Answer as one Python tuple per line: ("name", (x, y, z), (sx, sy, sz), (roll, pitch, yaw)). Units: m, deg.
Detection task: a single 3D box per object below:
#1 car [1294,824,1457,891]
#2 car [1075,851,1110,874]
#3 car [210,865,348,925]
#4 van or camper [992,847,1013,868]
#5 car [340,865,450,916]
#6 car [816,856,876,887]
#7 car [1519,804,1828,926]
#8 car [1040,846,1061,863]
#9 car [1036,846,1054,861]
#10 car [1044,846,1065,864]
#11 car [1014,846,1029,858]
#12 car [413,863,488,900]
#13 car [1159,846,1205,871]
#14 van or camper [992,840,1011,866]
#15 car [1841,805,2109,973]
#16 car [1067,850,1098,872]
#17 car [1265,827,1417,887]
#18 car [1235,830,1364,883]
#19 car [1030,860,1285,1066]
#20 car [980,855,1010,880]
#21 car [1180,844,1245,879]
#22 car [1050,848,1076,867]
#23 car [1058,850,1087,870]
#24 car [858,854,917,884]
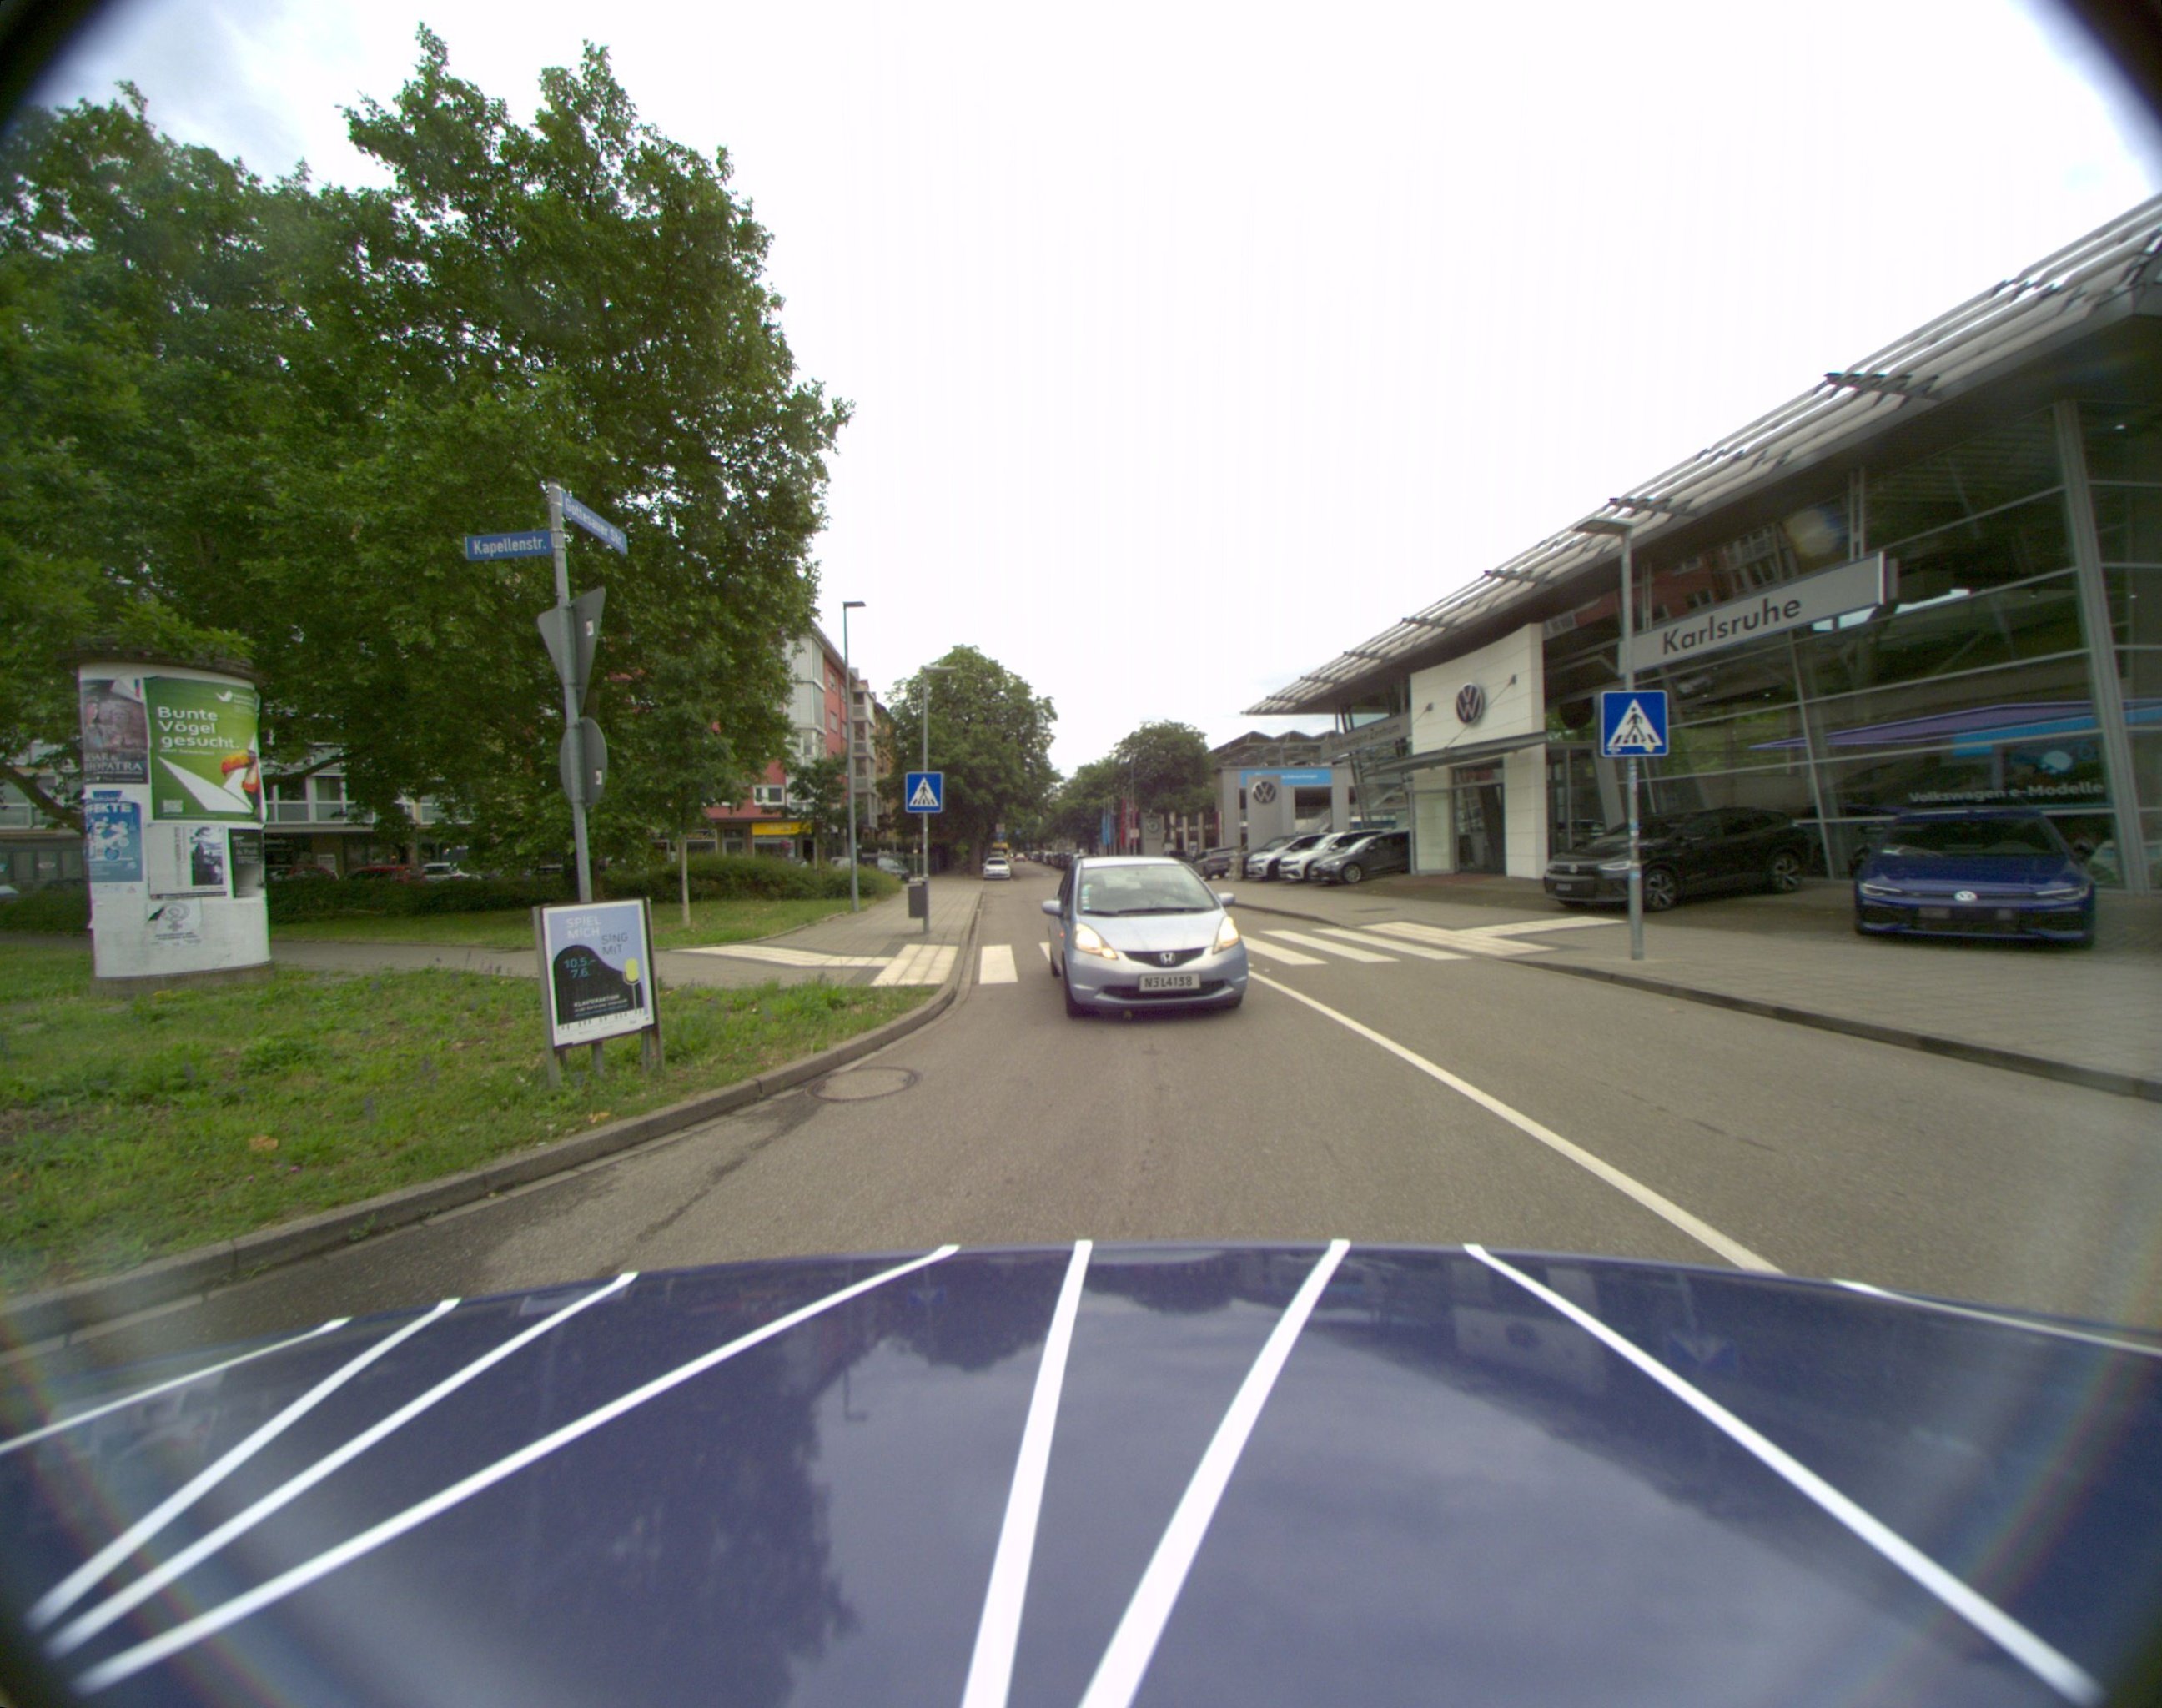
("car", (9.555, 0.099, 24.823), (4.475, 1.687, 1.896), (-5, 1, -7))
("car", (0.817, 0.600, 58.049), (1.861, 1.614, 4.471), (-3, 1, -9))
("car", (-26.383, 1.269, 25.211), (1.864, 1.712, 4.465), (-2, 1, -29))
("van or camper", (-8.073, 0.364, 78.031), (1.999, 2.002, 3.997), (-2, 1, -6))
("car", (-23.898, 1.205, 26.655), (1.864, 1.539, 4.465), (-2, 1, -29))
("car", (-13.426, 0.945, 43.298), (1.864, 1.539, 4.463), (-3, 2, -36))
("car", (10.578, 0.160, 13.680), (4.510, 1.623, 1.859), (-5, 1, -12))
("car", (-3.938, 0.063, 97.035), (2.023, 1.974, 4.778), (-3, 1, -9))
("car", (-5.289, -0.100, 111.858), (2.023, 1.974, 4.778), (-3, 1, -9))
("car", (-3.182, 0.109, 91.339), (1.861, 1.974, 4.471), (-3, 1, -9))
("car", (-10.077, -0.364, 127.916), (2.023, 1.974, 4.778), (-3, 1, -9))
("car", (-29.124, 1.210, 35.224), (1.864, 1.539, 4.465), (-2, 1, -29))
("car", (6.894, 0.280, 52.496), (1.899, 1.539, 4.471), (-3, 1, -9))
("van or camper", (-8.707, -0.149, 83.105), (1.999, 2.756, 3.997), (-2, 1, -6))
("car", (11.081, 0.265, 9.564), (4.345, 1.496, 1.853), (-6, 3, -41))
("car", (0.080, 0.549, 63.842), (1.861, 1.614, 4.471), (-3, 1, -9))
("car", (9.366, 0.105, 27.545), (4.774, 1.689, 1.860), (-5, 1, -7))
("car", (8.716, 0.095, 30.530), (4.474, 1.689, 1.869), (-5, 1, -6))
("car", (0.490, 0.868, 8.039), (1.754, 1.458, 4.095), (-3, 1, -7))
("car", (-5.753, 0.835, 50.726), (1.861, 1.539, 4.472), (0, 1, -7))
("car", (6.459, 0.385, 37.681), (1.920, 1.554, 4.011), (-3, 0, -9))
("car", (-1.765, 0.319, 73.834), (1.861, 1.614, 4.471), (-3, 1, -9))
("car", (-0.809, 0.517, 69.008), (1.861, 1.614, 4.471), (-3, 1, -9))
("car", (-11.257, 0.825, 44.055), (1.864, 1.539, 4.463), (-2, 2, -34))
